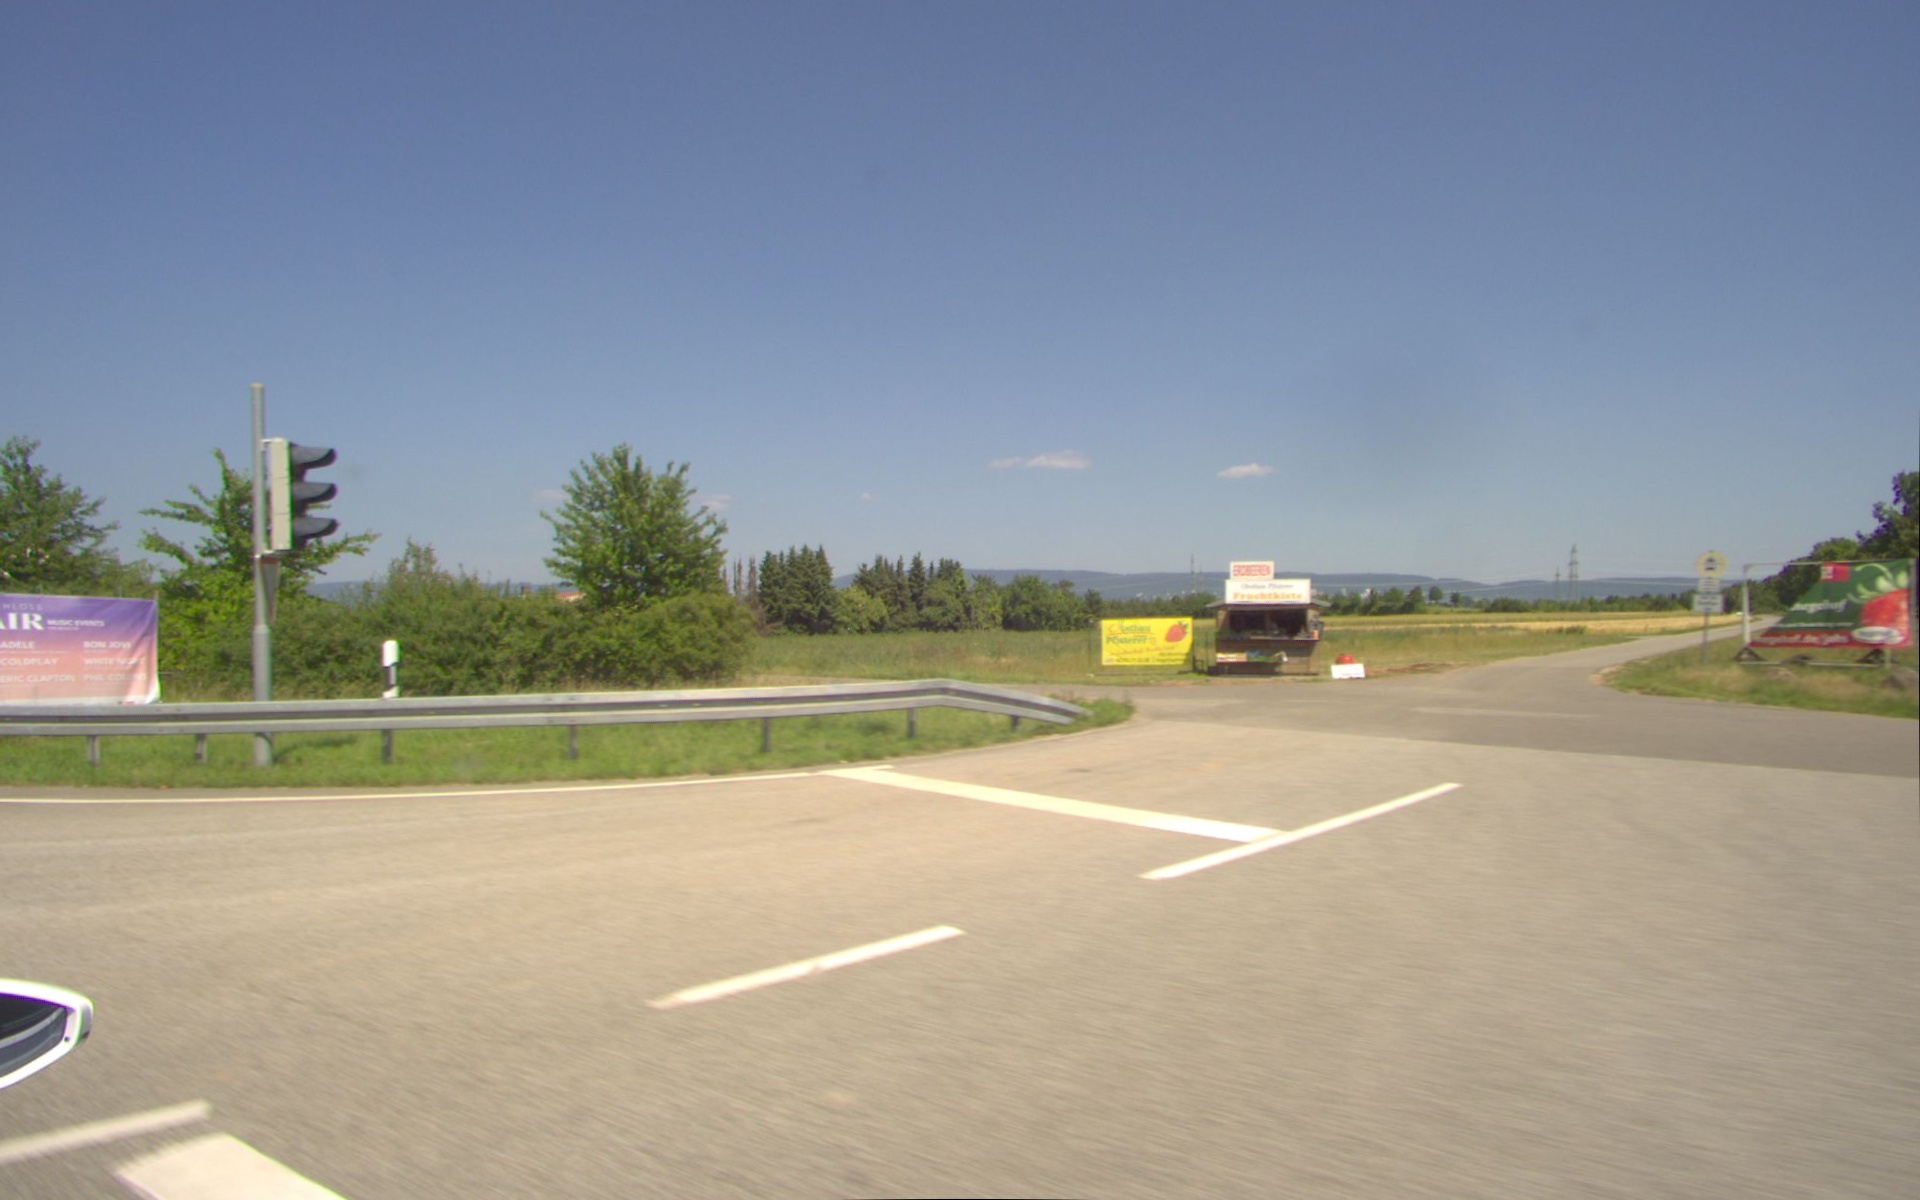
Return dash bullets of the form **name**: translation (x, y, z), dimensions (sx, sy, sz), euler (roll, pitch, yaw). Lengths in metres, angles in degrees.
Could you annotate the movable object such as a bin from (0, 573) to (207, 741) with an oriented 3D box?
- **movable object such as a bin**: translation (-13.810, 0.834, 14.821), dimensions (1.258, 2.360, 4.093), euler (-1, -3, 28)
